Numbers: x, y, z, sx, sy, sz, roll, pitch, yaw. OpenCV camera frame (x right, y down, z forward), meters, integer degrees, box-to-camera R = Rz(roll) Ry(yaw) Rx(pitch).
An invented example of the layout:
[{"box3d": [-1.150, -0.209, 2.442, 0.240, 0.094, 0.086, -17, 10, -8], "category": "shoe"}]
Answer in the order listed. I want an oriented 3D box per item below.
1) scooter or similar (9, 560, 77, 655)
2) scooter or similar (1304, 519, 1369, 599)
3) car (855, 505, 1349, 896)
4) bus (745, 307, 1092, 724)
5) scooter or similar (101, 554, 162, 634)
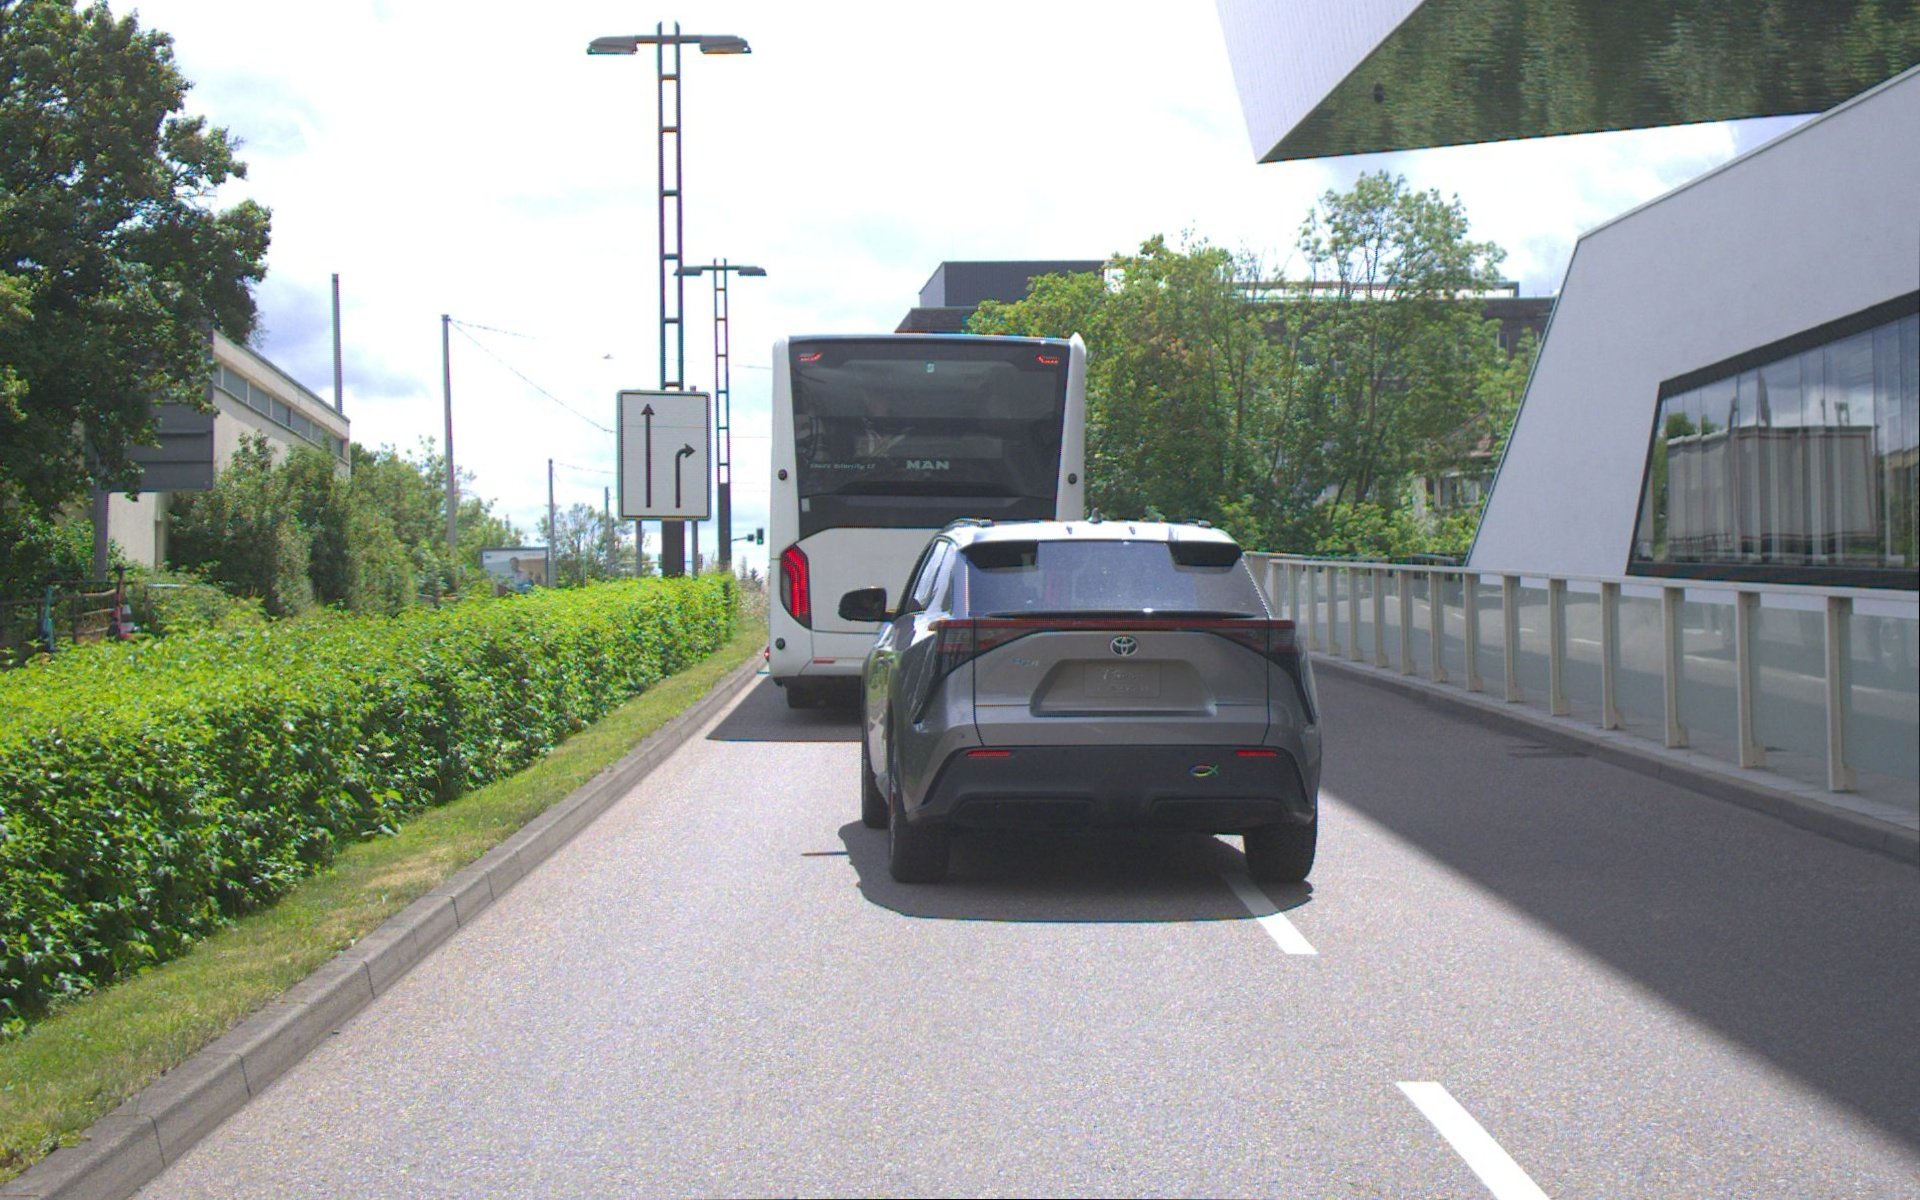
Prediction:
[{"box3d": [-12.864, 0.091, 48.255, 0.491, 1.300, 1.643, 1, 1, 1], "category": "scooter or similar"}, {"box3d": [5.904, -0.641, 54.013, 0.653, 1.210, 1.858, -2, 1, -4], "category": "scooter or similar"}, {"box3d": [0.521, 0.394, 16.175, 1.879, 1.588, 4.230, 0, 1, -4], "category": "car"}, {"box3d": [-0.347, -0.846, 33.033, 2.689, 3.244, 12.058, 1, 2, 0], "category": "bus"}, {"box3d": [-12.951, -0.109, 53.767, 0.491, 1.212, 1.643, -1, 1, 1], "category": "scooter or similar"}]
